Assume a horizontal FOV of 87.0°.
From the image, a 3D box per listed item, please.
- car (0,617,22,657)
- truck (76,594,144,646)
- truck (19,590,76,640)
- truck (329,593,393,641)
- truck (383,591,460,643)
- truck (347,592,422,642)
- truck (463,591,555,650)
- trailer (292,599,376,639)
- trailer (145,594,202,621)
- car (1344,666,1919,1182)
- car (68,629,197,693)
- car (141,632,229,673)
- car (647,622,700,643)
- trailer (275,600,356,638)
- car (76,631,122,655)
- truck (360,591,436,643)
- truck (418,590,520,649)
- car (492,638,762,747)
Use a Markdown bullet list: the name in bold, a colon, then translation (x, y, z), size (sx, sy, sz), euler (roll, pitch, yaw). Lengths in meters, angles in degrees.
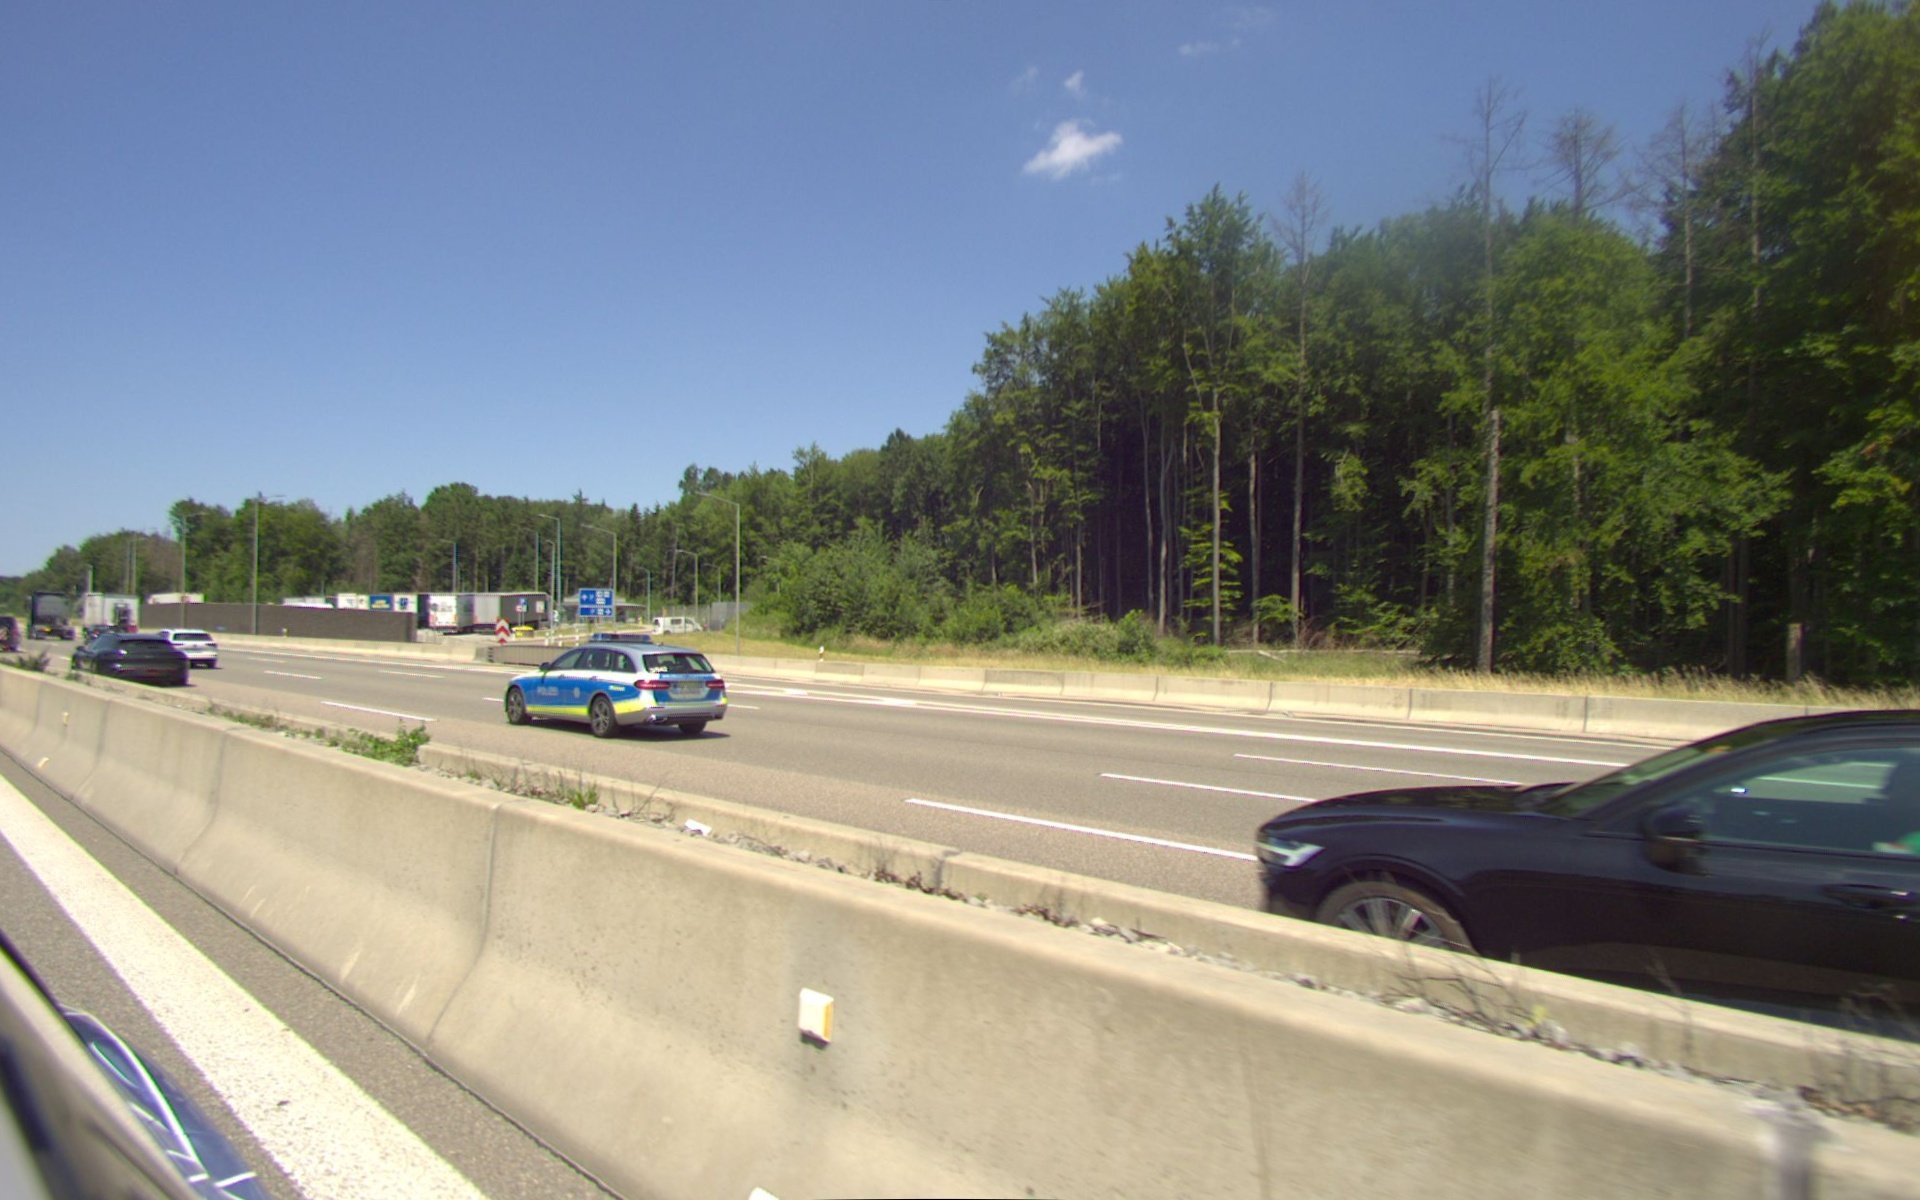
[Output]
- **car**: translation (-49.073, 1.838, 51.095), size (5.654, 1.968, 1.878), euler (-1, -3, 41)
- **truck**: translation (-73.612, 1.725, 87.538), size (10.591, 4.229, 2.805), euler (-1, -2, 41)
- **truck**: translation (-75.078, 1.268, 83.257), size (7.013, 3.870, 2.551), euler (-1, -3, 41)
- **truck**: translation (-72.433, 2.105, 122.685), size (3.179, 5.655, 8.496), euler (1, -2, -5)
- **truck**: translation (-61.667, 2.058, 116.308), size (3.317, 5.655, 11.549), euler (1, -2, -5)
- **truck**: translation (-68.956, 2.119, 121.585), size (3.179, 5.655, 11.549), euler (1, -2, -5)
- **truck**: translation (-46.890, 2.210, 106.101), size (3.175, 5.655, 16.725), euler (1, -2, -4)
- **trailer**: translation (-83.792, 2.655, 135.873), size (3.175, 5.111, 14.580), euler (1, -2, -4)
- **trailer**: translation (-98.876, 0.979, 127.080), size (14.603, 3.148, 2.941), euler (-1, -2, 41)
- **car**: translation (3.889, 1.081, 3.582), size (4.361, 1.475, 1.893), euler (0, -2, 41)
- **car**: translation (-22.088, 1.561, 26.964), size (4.585, 1.475, 1.893), euler (0, -2, 41)
- **car**: translation (-29.813, 1.970, 38.894), size (4.837, 1.475, 1.742), euler (-1, -2, 41)
- **car**: translation (-28.633, 3.250, 101.237), size (4.663, 2.029, 2.091), euler (2, -2, -35)
- **trailer**: translation (-91.486, 2.819, 144.161), size (3.083, 5.111, 14.580), euler (1, -2, -4)
- **car**: translation (-58.498, 2.903, 68.746), size (3.812, 1.498, 1.735), euler (-1, -4, 41)
- **truck**: translation (-65.103, 2.044, 117.623), size (3.179, 5.655, 11.549), euler (1, -2, -5)
- **truck**: translation (-50.346, 2.095, 104.618), size (3.399, 5.655, 16.725), euler (1, -2, -4)
- **car**: translation (-5.734, 1.450, 17.022), size (5.229, 1.524, 1.893), euler (-1, -4, 41)
